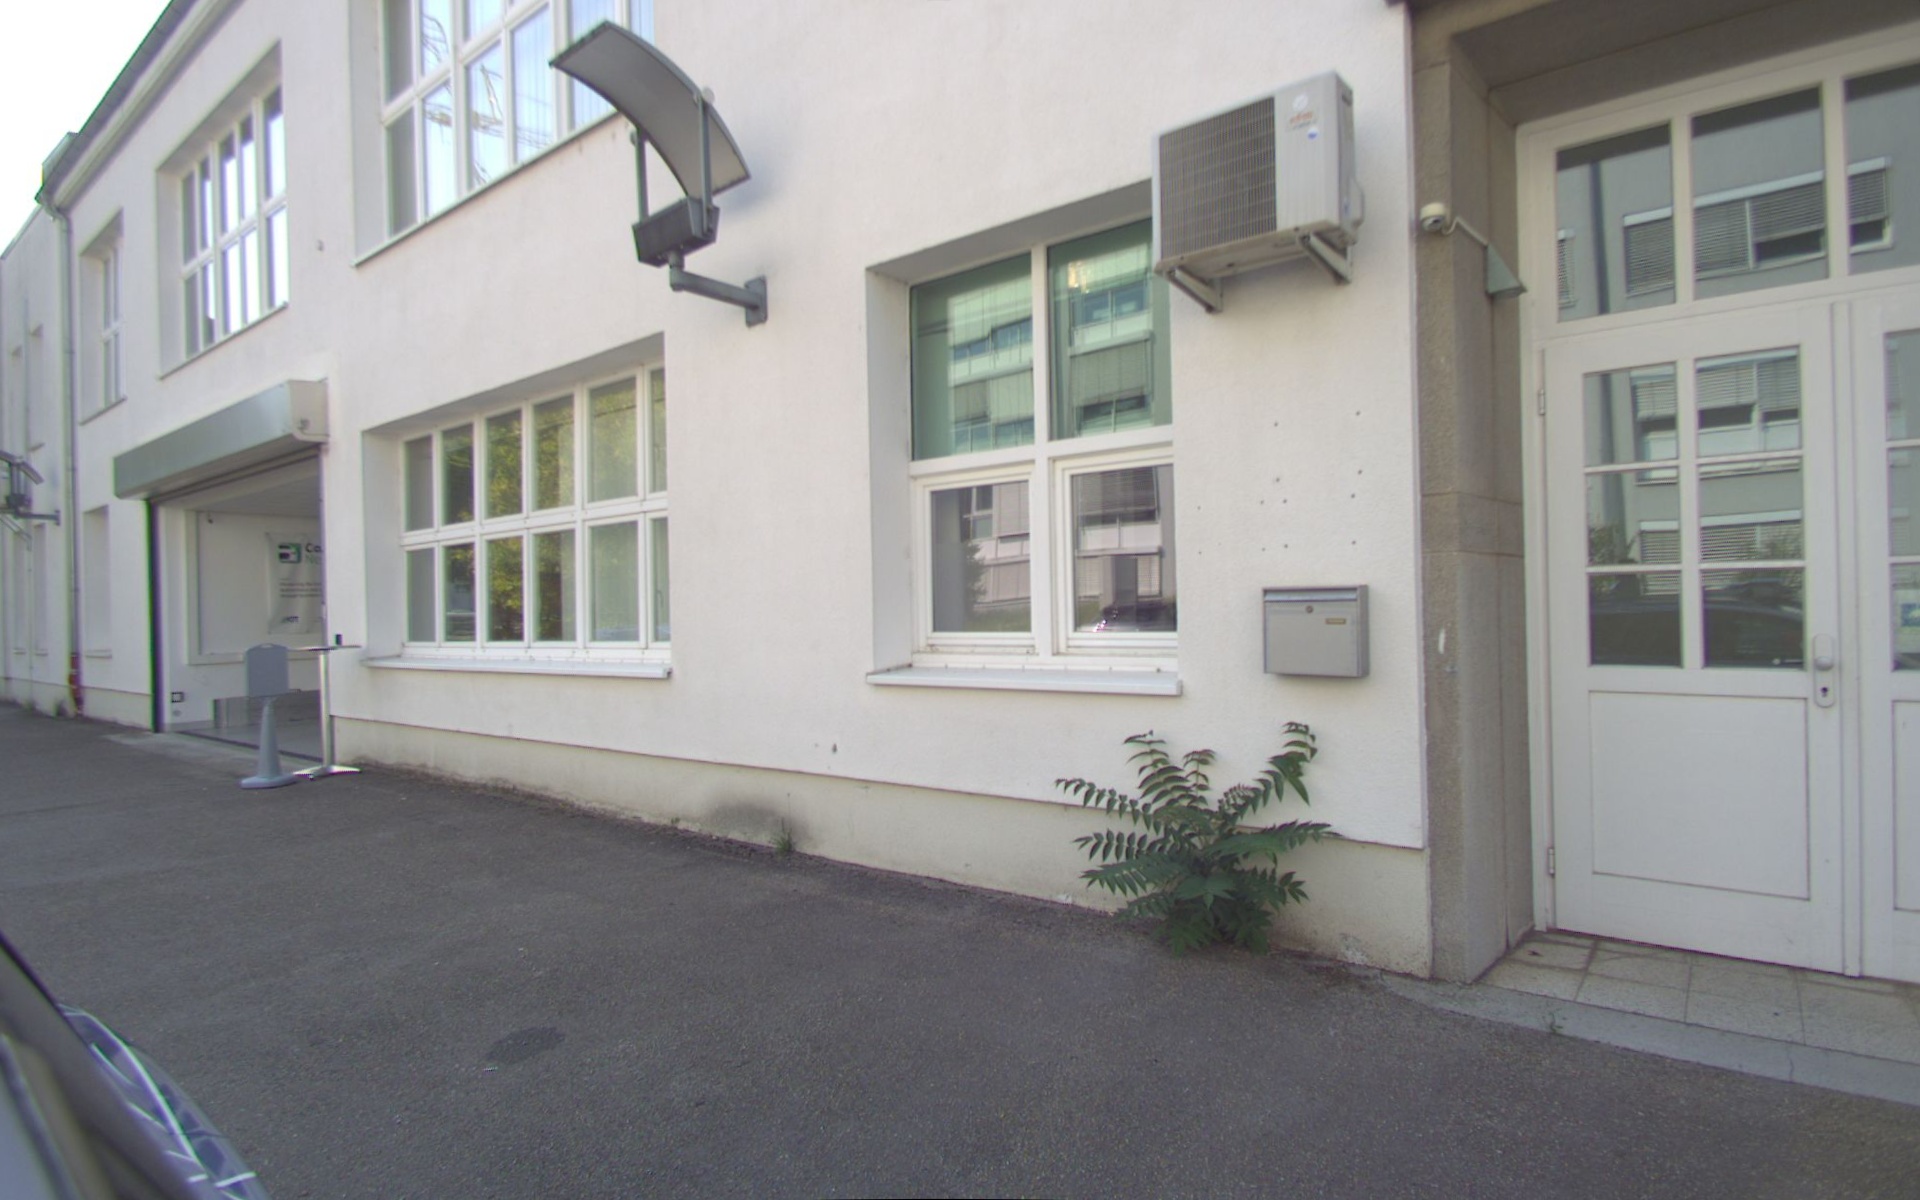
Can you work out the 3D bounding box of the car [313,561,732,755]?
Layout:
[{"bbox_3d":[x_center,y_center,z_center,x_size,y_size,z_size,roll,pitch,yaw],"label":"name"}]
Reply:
[{"bbox_3d":[-5.598,0.589,13.517,2.053,2.108,4.701,-1,1,39],"label":"car"}]
